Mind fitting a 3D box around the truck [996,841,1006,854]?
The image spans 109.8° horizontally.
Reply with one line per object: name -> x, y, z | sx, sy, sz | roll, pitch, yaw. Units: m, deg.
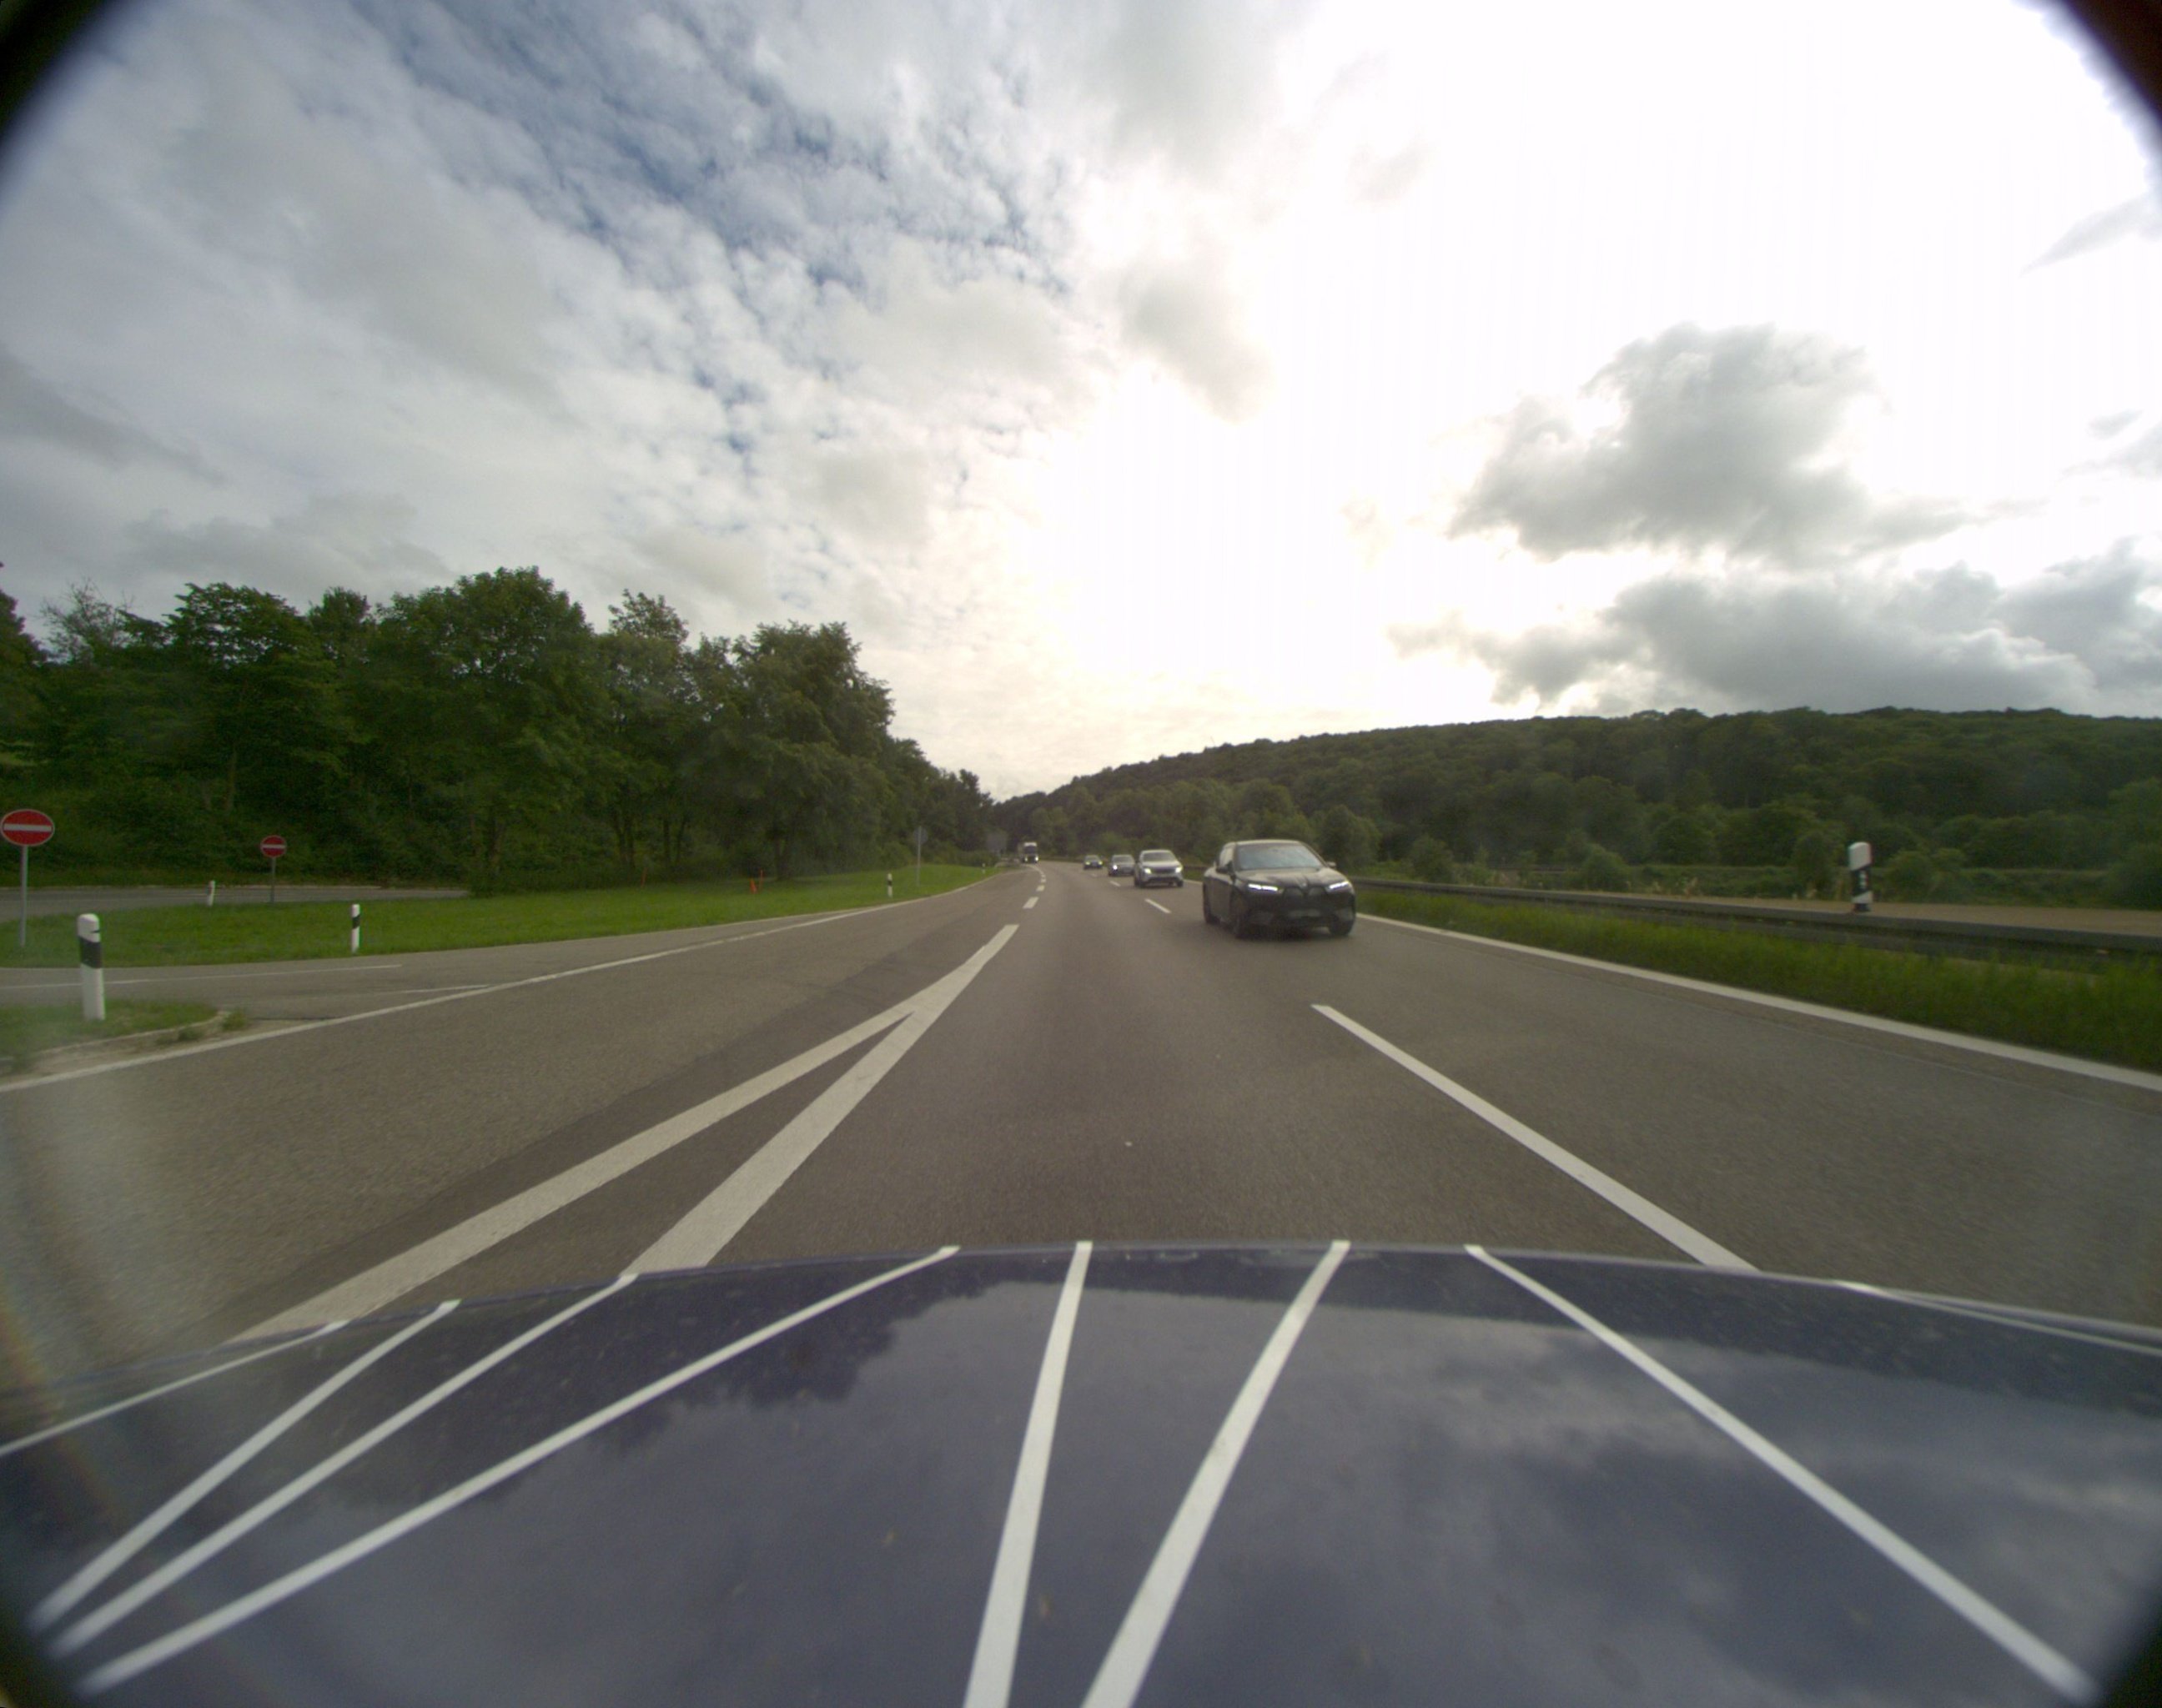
truck -> -24.420, -1.993, 232.322 | 2.796, 3.949, 5.936 | -1, 1, -4

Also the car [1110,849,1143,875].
car -> 3.129, 0.499, 53.249 | 1.999, 1.656, 4.413 | -1, 1, -1

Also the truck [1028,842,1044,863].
truck -> -8.694, -0.372, 147.996 | 2.795, 3.949, 5.938 | -1, 1, -1

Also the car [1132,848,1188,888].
car -> 3.487, 0.571, 34.508 | 1.999, 1.656, 4.413 | -1, 1, -1

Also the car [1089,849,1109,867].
car -> 1.794, 0.402, 78.094 | 1.998, 1.656, 4.413 | -1, 2, 0

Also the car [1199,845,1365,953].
car -> 3.536, 0.693, 14.287 | 1.998, 1.656, 4.415 | -2, 1, 1
